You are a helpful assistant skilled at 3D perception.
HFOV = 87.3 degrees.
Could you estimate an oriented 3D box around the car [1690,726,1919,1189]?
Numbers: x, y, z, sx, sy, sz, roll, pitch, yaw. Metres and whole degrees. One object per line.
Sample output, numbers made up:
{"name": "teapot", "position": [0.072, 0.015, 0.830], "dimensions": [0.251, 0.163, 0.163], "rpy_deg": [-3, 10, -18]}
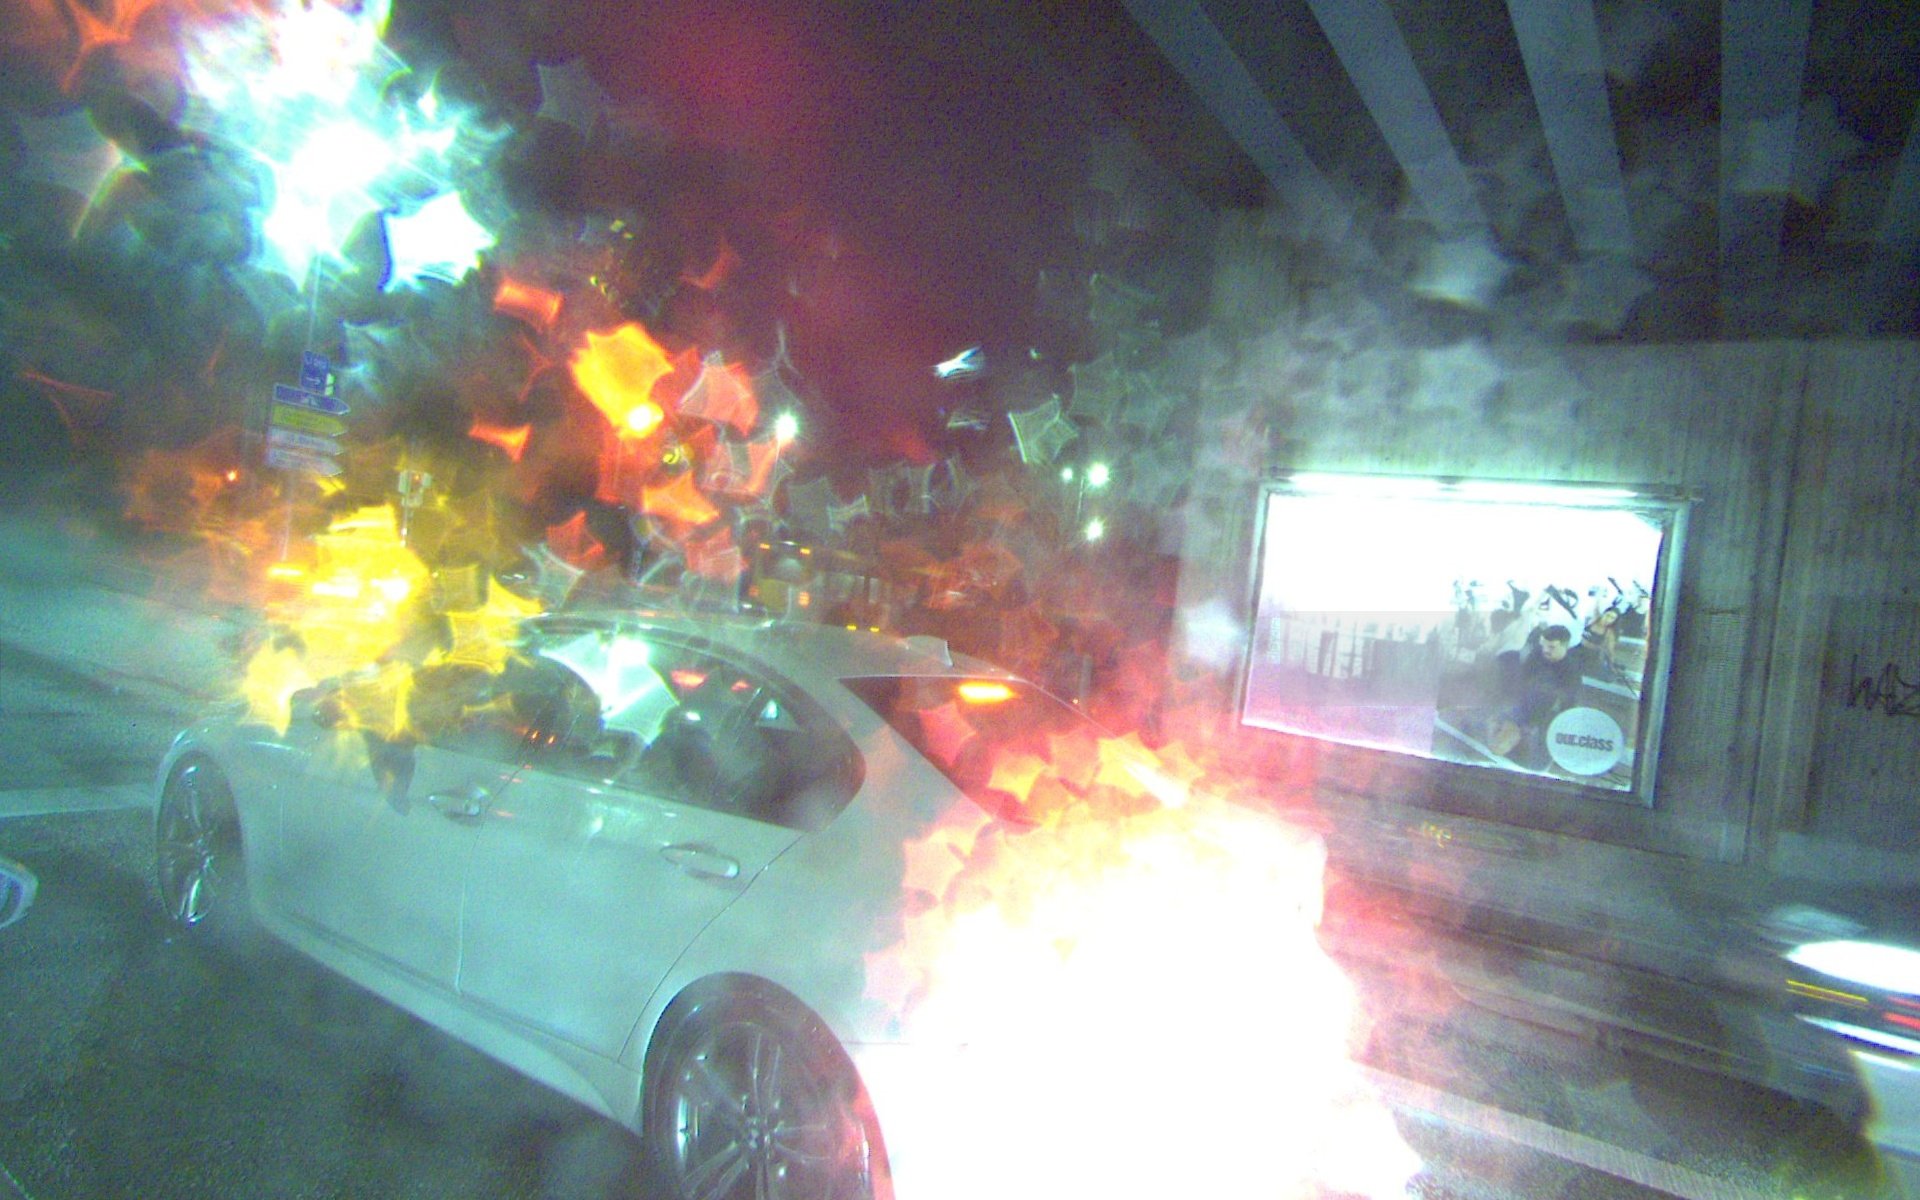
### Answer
{"name": "car", "position": [5.379, 1.546, 3.358], "dimensions": [4.425, 1.473, 1.852], "rpy_deg": [7, -1, 29]}

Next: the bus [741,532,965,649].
{"name": "bus", "position": [-3.694, -0.159, 38.188], "dimensions": [2.732, 3.159, 9.748], "rpy_deg": [7, -2, 32]}

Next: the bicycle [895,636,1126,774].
{"name": "bicycle", "position": [0.494, 1.049, 10.410], "dimensions": [2.171, 1.070, 0.798], "rpy_deg": [6, -2, 32]}

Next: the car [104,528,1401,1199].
{"name": "car", "position": [-0.967, 0.708, 3.490], "dimensions": [4.277, 1.420, 1.720], "rpy_deg": [6, -2, 32]}

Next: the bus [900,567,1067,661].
{"name": "bus", "position": [1.358, 0.793, 46.297], "dimensions": [2.732, 3.159, 9.747], "rpy_deg": [7, -2, 32]}

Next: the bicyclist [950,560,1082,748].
{"name": "bicyclist", "position": [0.585, 0.558, 10.375], "dimensions": [0.886, 1.783, 0.798], "rpy_deg": [6, -1, 31]}

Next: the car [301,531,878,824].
{"name": "car", "position": [-3.148, 0.488, 8.305], "dimensions": [4.550, 1.502, 1.852], "rpy_deg": [8, 0, 29]}

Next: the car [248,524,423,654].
{"name": "car", "position": [-9.433, -0.188, 15.392], "dimensions": [1.824, 1.495, 4.594], "rpy_deg": [8, -2, -30]}
